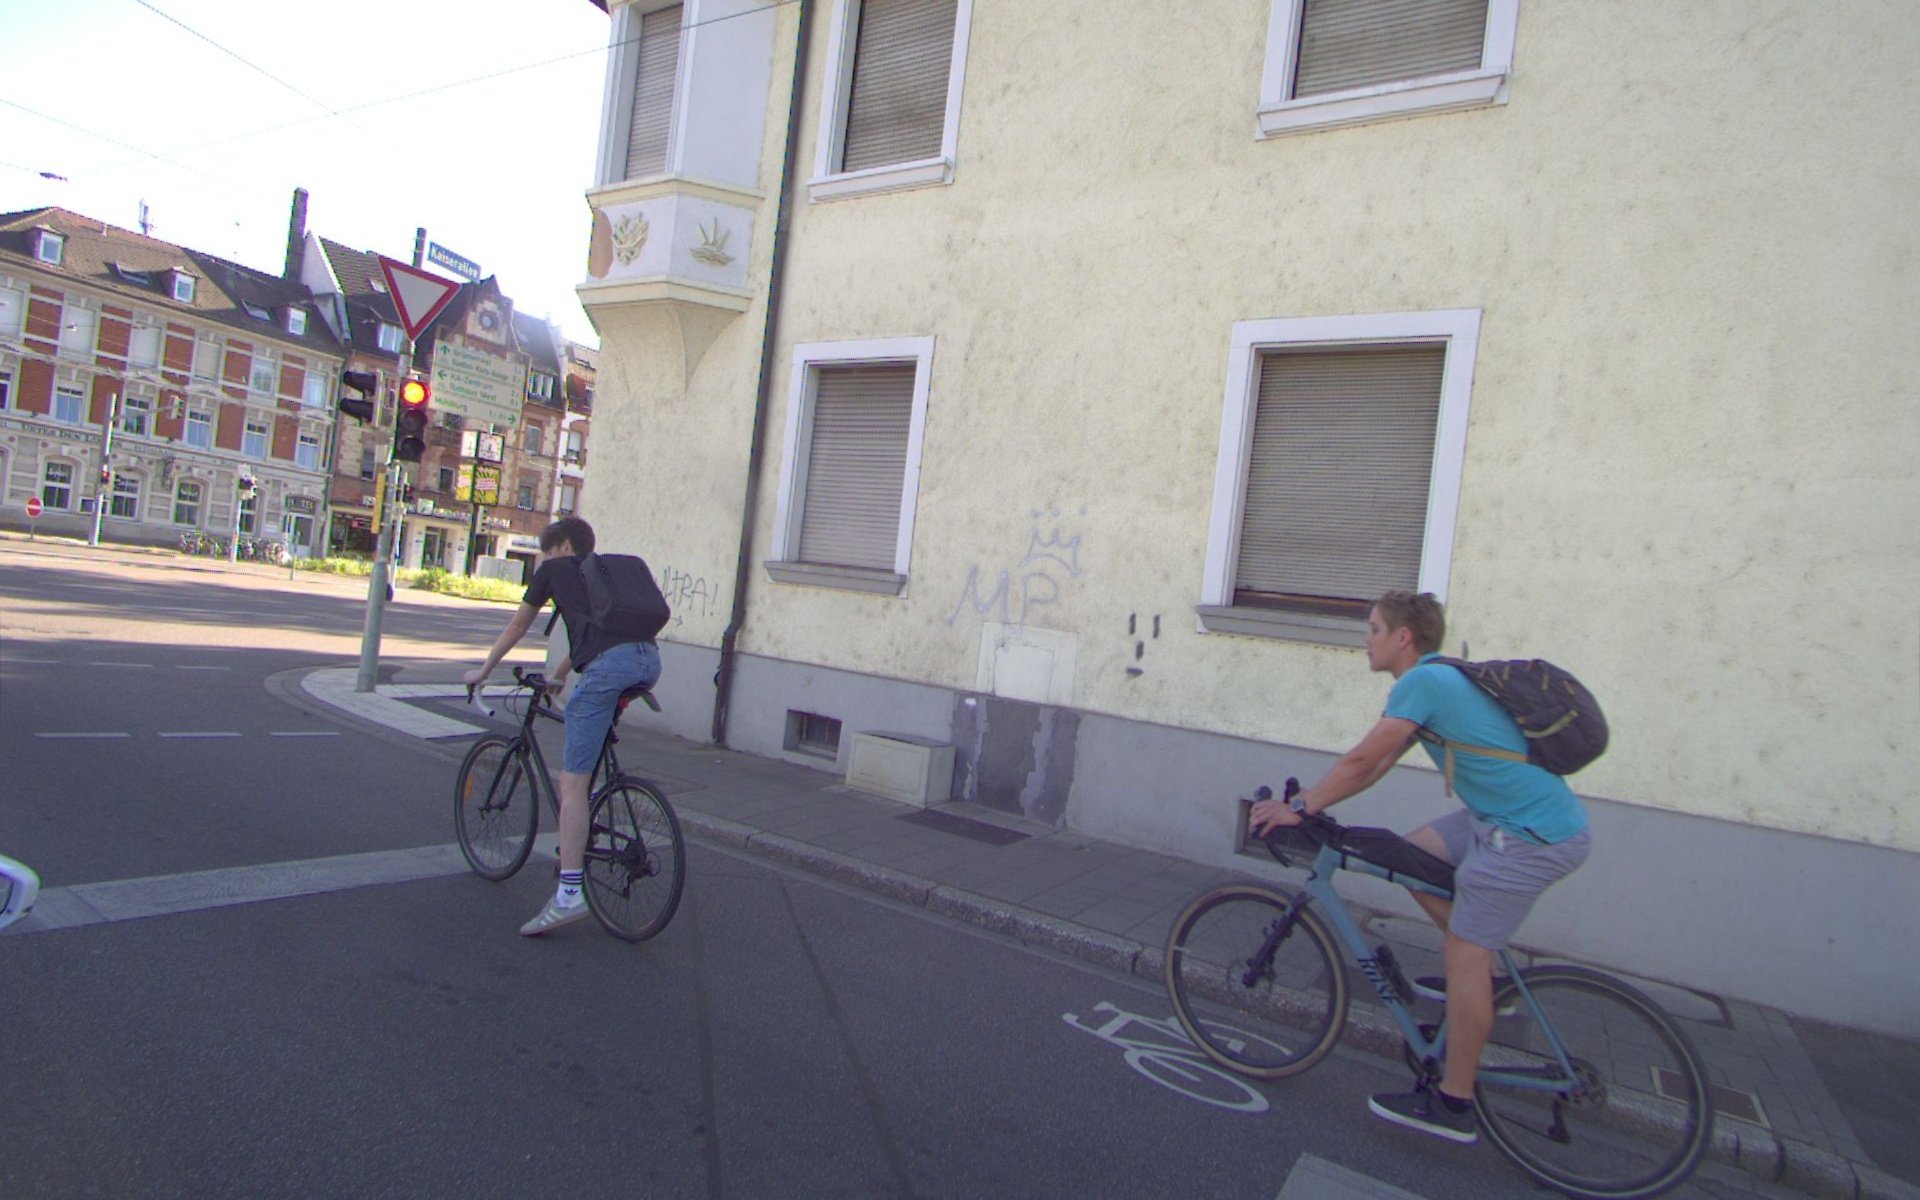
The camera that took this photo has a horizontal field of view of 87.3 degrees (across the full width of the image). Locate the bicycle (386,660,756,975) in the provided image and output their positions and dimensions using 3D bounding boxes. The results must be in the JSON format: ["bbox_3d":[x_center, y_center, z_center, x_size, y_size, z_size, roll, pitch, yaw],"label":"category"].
[{"bbox_3d":[-1.783,0.875,4.498,1.721,0.982,0.519,7,0,32],"label":"bicycle"}]

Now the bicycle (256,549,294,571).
[{"bbox_3d":[-33.090,-1.940,48.592,2.125,0.850,0.659,6,-2,33],"label":"bicycle"}]

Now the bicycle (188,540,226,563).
[{"bbox_3d":[-34.542,-2.229,46.139,2.125,0.850,0.659,6,-2,33],"label":"bicycle"}]

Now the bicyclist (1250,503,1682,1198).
[{"bbox_3d":[1.672,0.731,3.380,0.930,1.958,0.518,10,2,35],"label":"bicyclist"}]

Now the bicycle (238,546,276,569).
[{"bbox_3d":[-33.478,-2.020,47.887,2.125,0.850,0.659,6,-2,33],"label":"bicycle"}]

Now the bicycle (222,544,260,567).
[{"bbox_3d":[-33.834,-2.088,47.357,2.125,0.850,0.659,6,-2,33],"label":"bicycle"}]

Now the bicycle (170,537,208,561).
[{"bbox_3d":[-34.858,-2.298,45.472,2.125,0.850,0.659,6,-2,33],"label":"bicycle"}]

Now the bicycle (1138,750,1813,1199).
[{"bbox_3d":[1.594,1.248,3.384,1.767,1.104,0.518,9,1,35],"label":"bicycle"}]

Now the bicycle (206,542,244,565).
[{"bbox_3d":[-34.168,-2.155,46.760,2.125,0.850,0.659,6,-2,33],"label":"bicycle"}]

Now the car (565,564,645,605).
[{"bbox_3d":[-22.999,-0.997,65.317,1.968,2.038,4.430,7,-1,34],"label":"car"}]

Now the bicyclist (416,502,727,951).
[{"bbox_3d":[-1.735,0.491,4.477,1.098,1.722,0.573,7,0,32],"label":"bicyclist"}]
